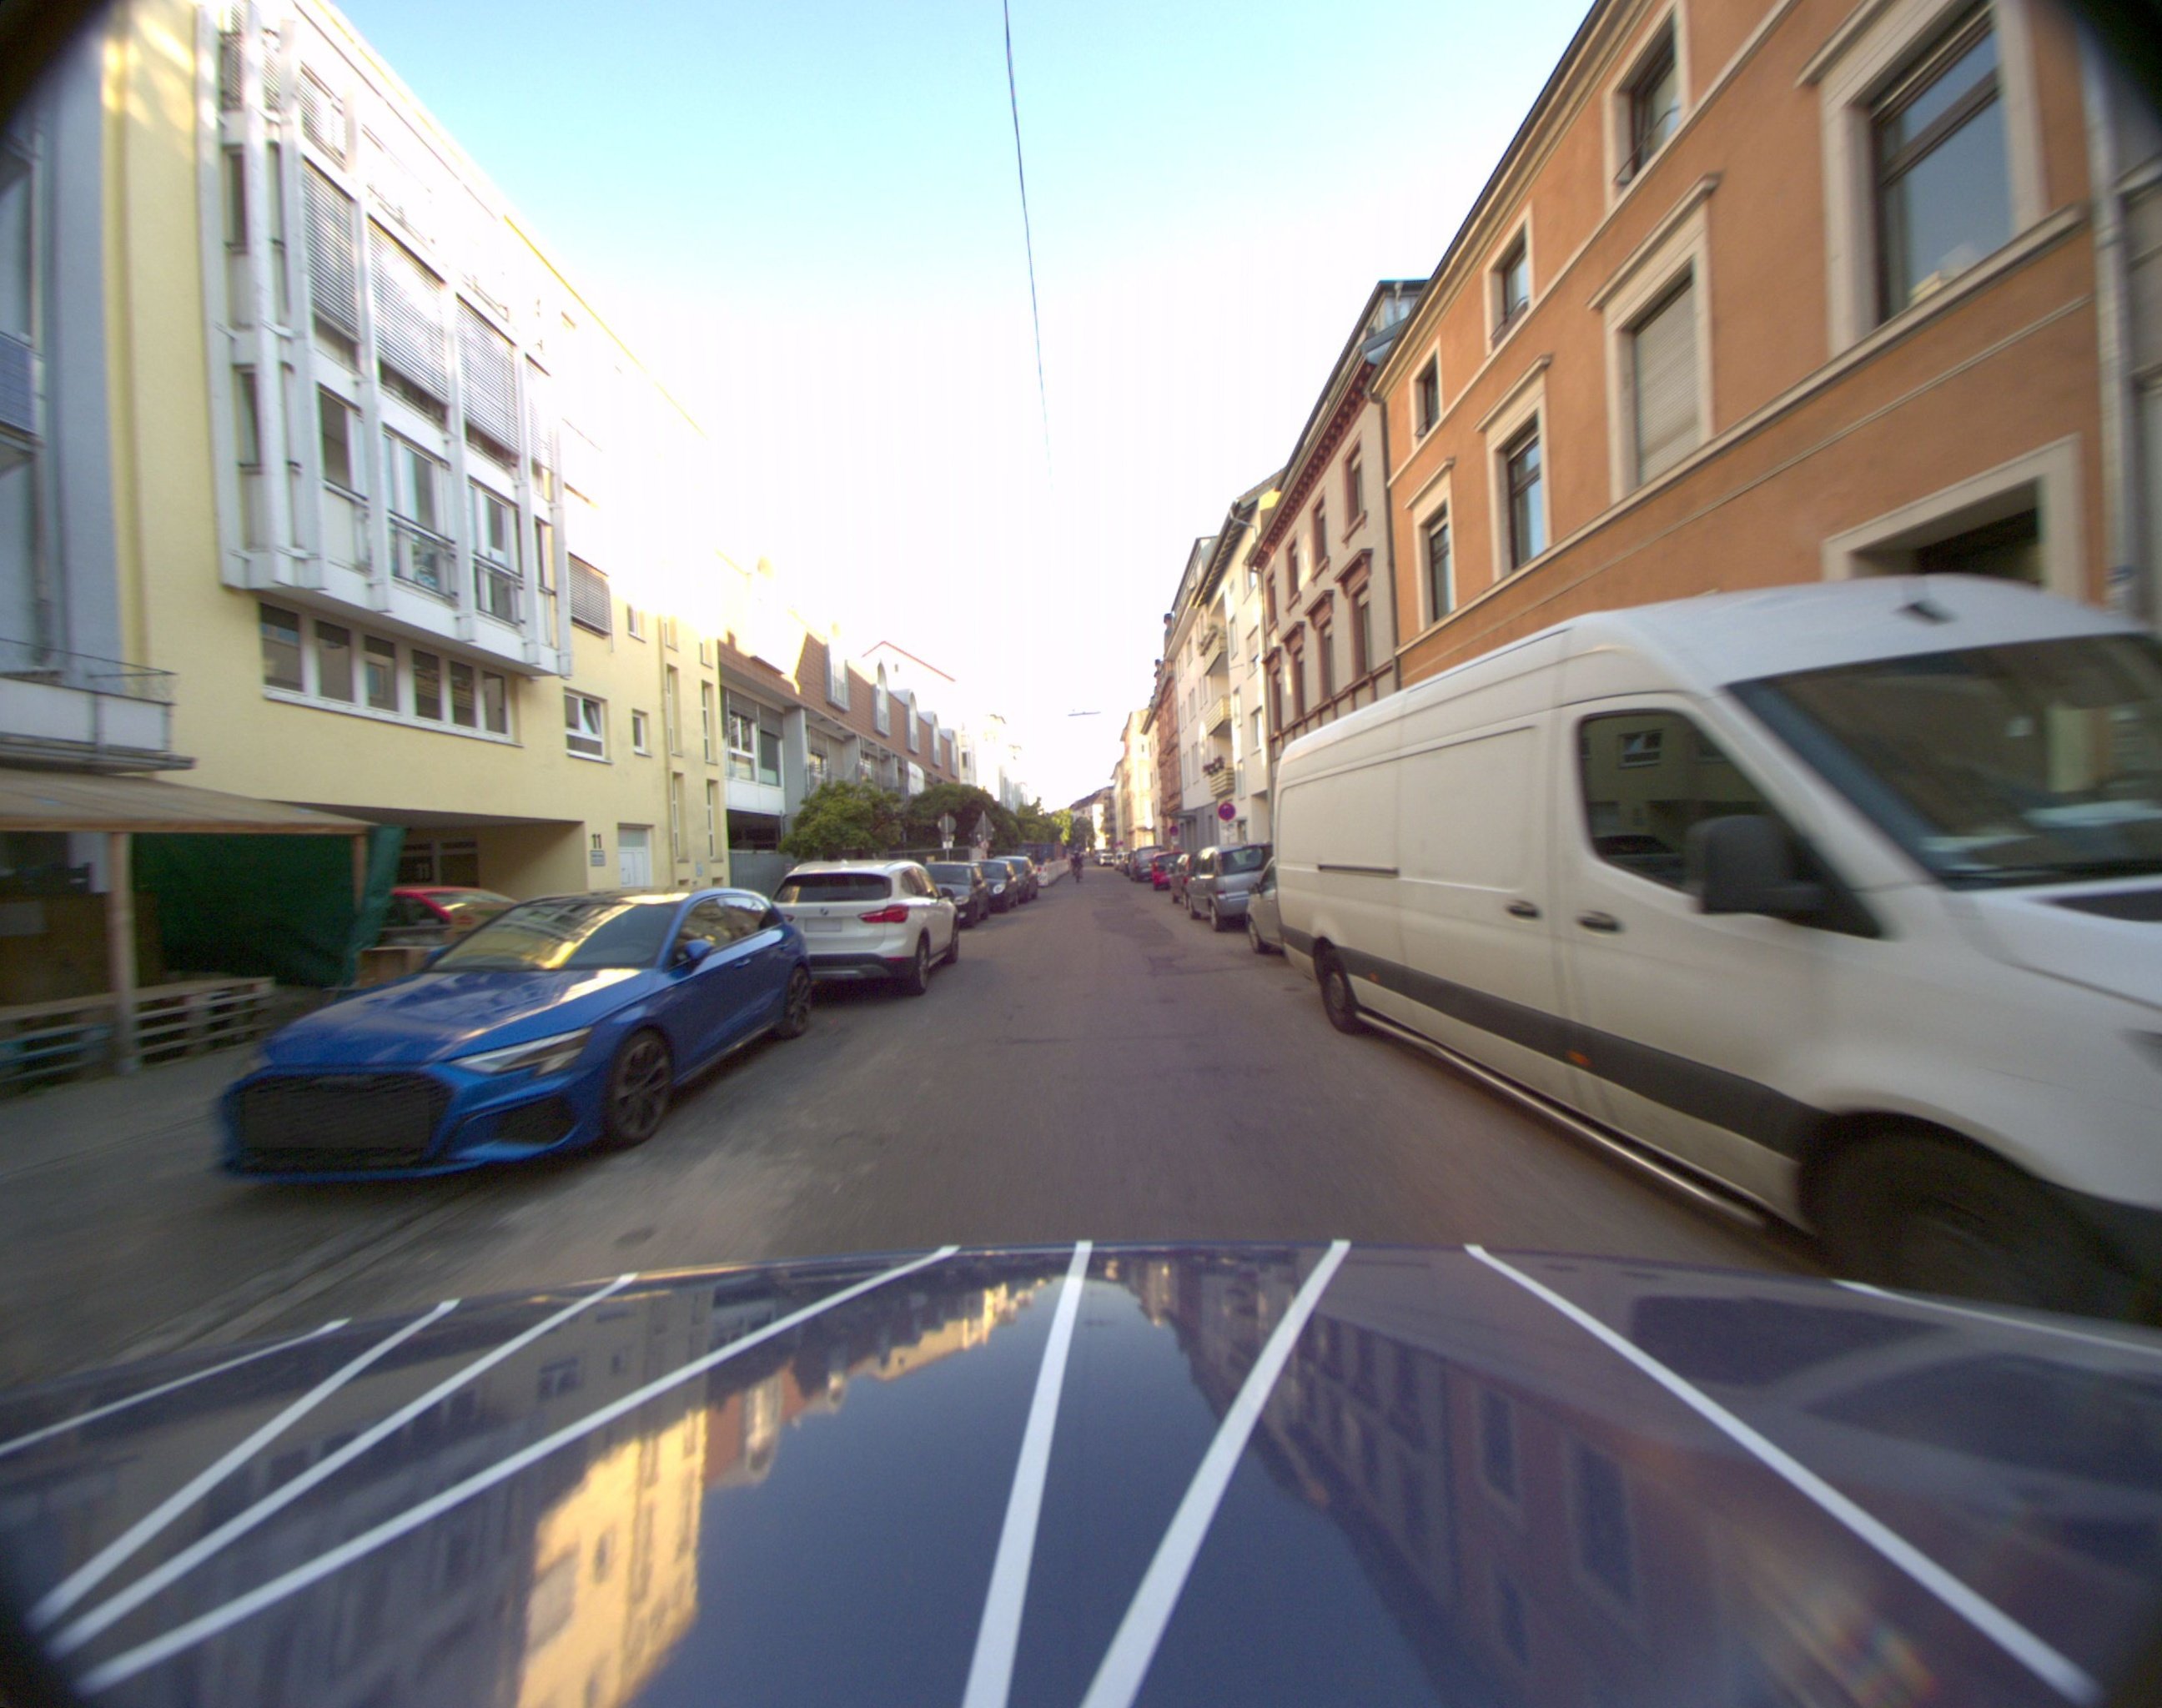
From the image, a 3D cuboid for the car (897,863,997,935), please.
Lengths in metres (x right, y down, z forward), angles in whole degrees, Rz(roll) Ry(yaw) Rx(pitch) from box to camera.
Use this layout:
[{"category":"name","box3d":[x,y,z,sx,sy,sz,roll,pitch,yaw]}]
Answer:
[{"category":"car","box3d":[-3.118,0.992,18.418,1.624,1.477,4.124,-1,0,1]}]

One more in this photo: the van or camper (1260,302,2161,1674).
[{"category":"van or camper","box3d":[2.966,0.242,4.371,1.954,2.634,7.139,-2,0,-2]}]

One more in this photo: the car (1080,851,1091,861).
[{"category":"car","box3d":[0.959,0.340,147.735,1.998,1.783,4.000,-3,0,1]}]

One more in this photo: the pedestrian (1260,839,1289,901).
[{"category":"pedestrian","box3d":[5.225,0.417,20.509,0.496,1.629,0.665,-4,1,0]}]

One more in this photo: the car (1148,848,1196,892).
[{"category":"car","box3d":[3.678,0.601,31.054,1.672,1.477,3.607,-8,0,5]}]

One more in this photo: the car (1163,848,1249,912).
[{"category":"car","box3d":[3.372,0.660,20.993,1.661,1.440,3.285,-6,0,-1]}]

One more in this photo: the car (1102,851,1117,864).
[{"category":"car","box3d":[3.311,0.403,89.347,1.688,1.487,3.844,1,1,2]}]

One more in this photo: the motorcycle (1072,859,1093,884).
[{"category":"motorcycle","box3d":[0.092,0.952,41.507,0.806,1.242,1.699,-5,-1,8]}]

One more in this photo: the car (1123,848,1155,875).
[{"category":"car","box3d":[3.774,0.473,50.021,1.744,1.590,4.014,-3,0,0]}]

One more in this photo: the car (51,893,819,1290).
[{"category":"car","box3d":[-3.409,1.093,5.306,1.727,1.380,4.294,-1,0,-1]}]

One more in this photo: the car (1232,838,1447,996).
[{"category":"car","box3d":[3.262,0.705,10.349,1.594,1.676,3.652,-3,0,0]}]

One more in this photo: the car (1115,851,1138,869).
[{"category":"car","box3d":[3.866,0.488,65.643,1.636,1.421,3.554,-3,0,-1]}]

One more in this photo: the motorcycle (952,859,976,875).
[{"category":"motorcycle","box3d":[-9.745,1.062,63.529,0.871,1.215,2.460,-2,1,19]}]

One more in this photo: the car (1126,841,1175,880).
[{"category":"car","box3d":[3.634,0.327,40.492,1.999,1.848,4.584,-3,0,-1]}]

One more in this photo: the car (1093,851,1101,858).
[{"category":"car","box3d":[4.000,0.124,189.452,1.998,1.783,4.000,-3,0,1]}]

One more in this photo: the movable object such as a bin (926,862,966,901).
[{"category":"movable object such as a bin","box3d":[-5.187,1.050,29.127,1.256,1.368,0.800,-5,1,-25]}]

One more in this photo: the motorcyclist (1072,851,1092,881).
[{"category":"motorcyclist","box3d":[0.061,0.677,41.449,0.873,1.558,1.000,-5,-1,8]}]

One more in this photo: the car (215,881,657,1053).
[{"category":"car","box3d":[-7.757,1.302,9.435,3.905,1.598,1.694,-4,1,-1]}]

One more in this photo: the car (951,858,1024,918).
[{"category":"car","box3d":[-2.740,0.963,23.062,1.626,1.548,3.694,-3,0,1]}]

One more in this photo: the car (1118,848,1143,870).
[{"category":"car","box3d":[3.905,0.374,60.362,1.559,1.500,3.597,-5,0,0]}]

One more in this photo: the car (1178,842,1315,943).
[{"category":"car","box3d":[3.181,0.674,15.380,1.715,1.634,3.979,-5,0,-1]}]

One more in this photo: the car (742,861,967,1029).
[{"category":"car","box3d":[-2.706,0.971,10.244,1.727,1.602,4.587,-3,0,-2]}]

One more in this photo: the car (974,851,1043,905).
[{"category":"car","box3d":[-2.530,0.788,27.485,1.753,1.673,4.526,-4,0,3]}]
